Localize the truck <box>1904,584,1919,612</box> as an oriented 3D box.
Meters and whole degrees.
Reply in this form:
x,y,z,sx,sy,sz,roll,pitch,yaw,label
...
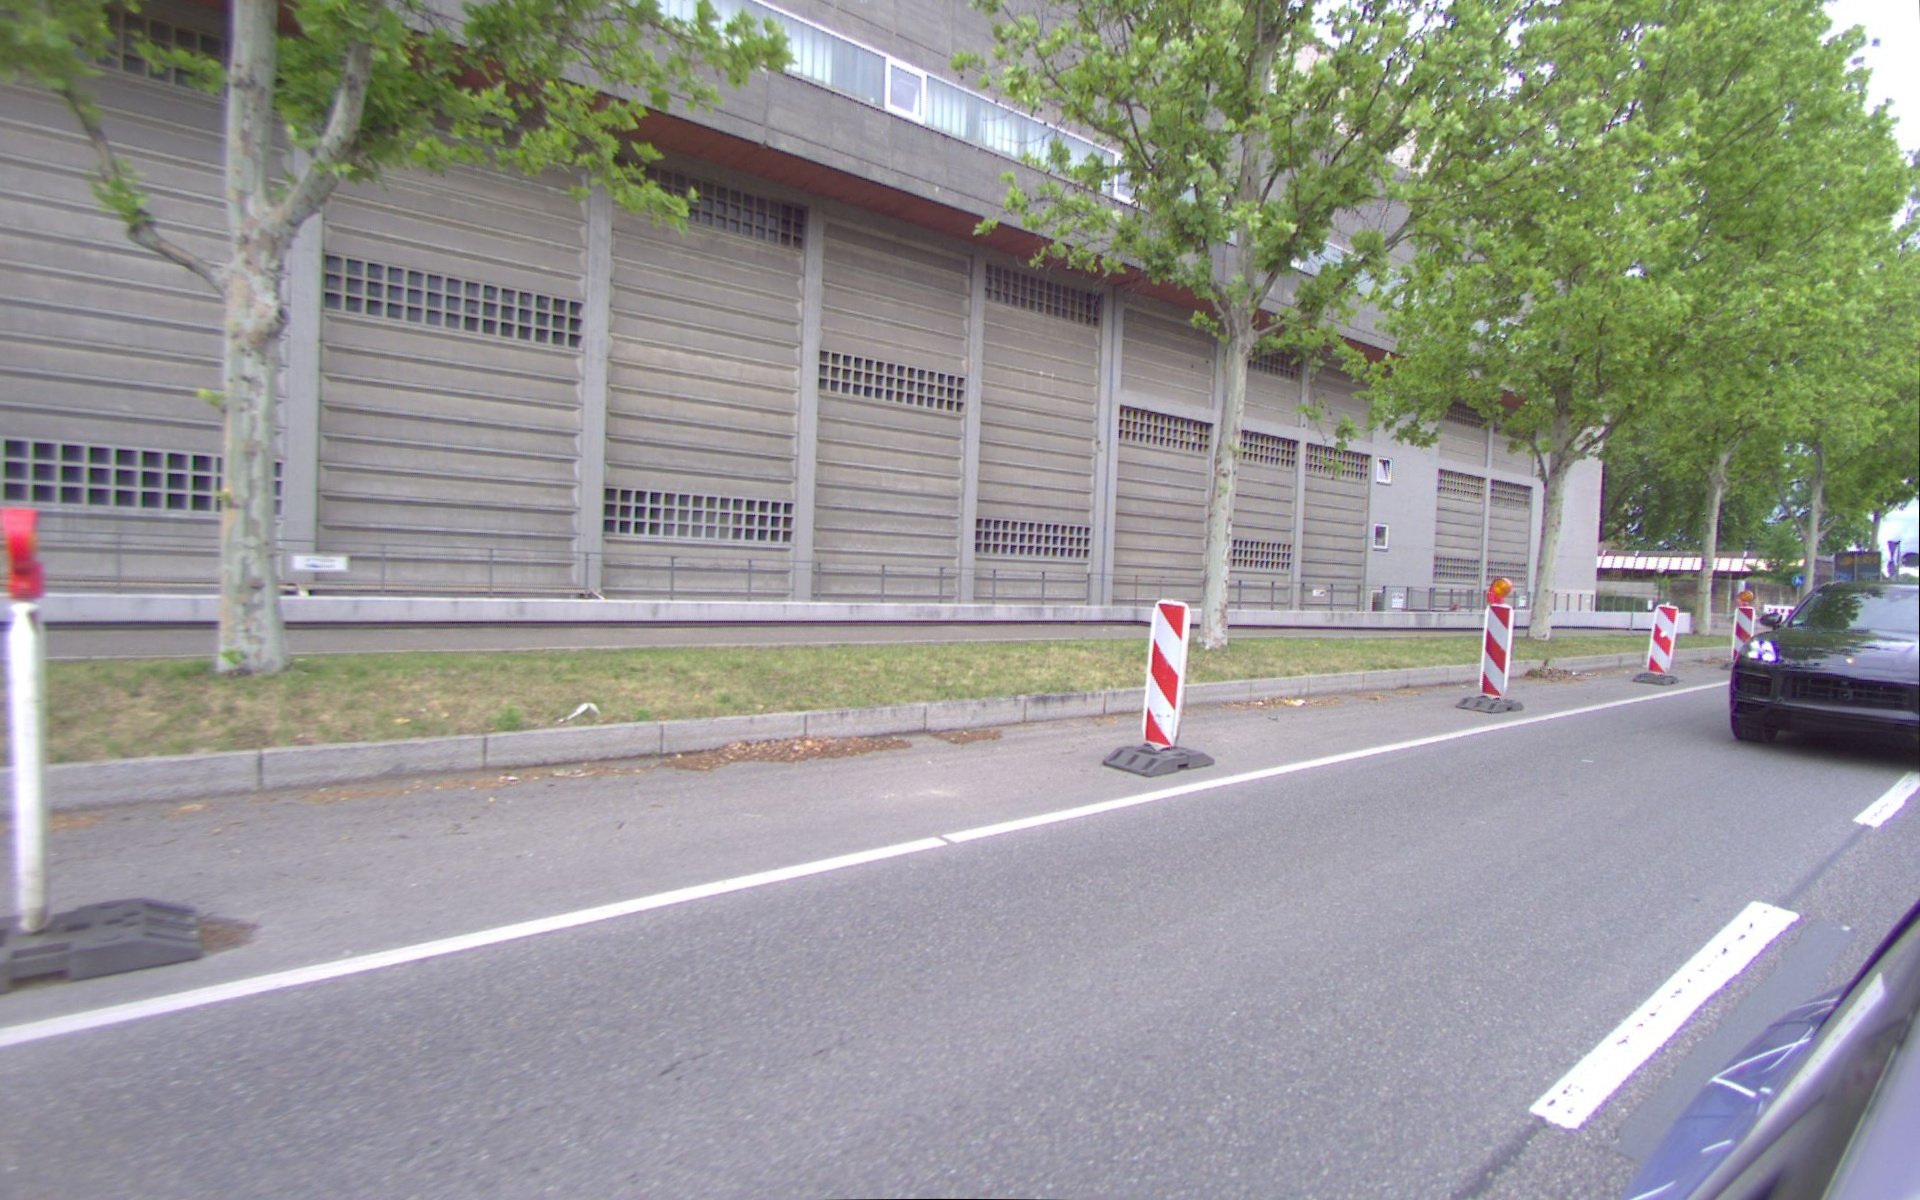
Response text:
x,y,z,sx,sy,sz,roll,pitch,yaw,label
130.886,-0.249,136.874,2.890,3.720,8.922,3,2,33,truck

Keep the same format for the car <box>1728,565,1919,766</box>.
x,y,z,sx,sy,sz,roll,pitch,yaw,label
9.693,0.527,10.302,4.526,1.667,1.956,-1,3,-39,car
